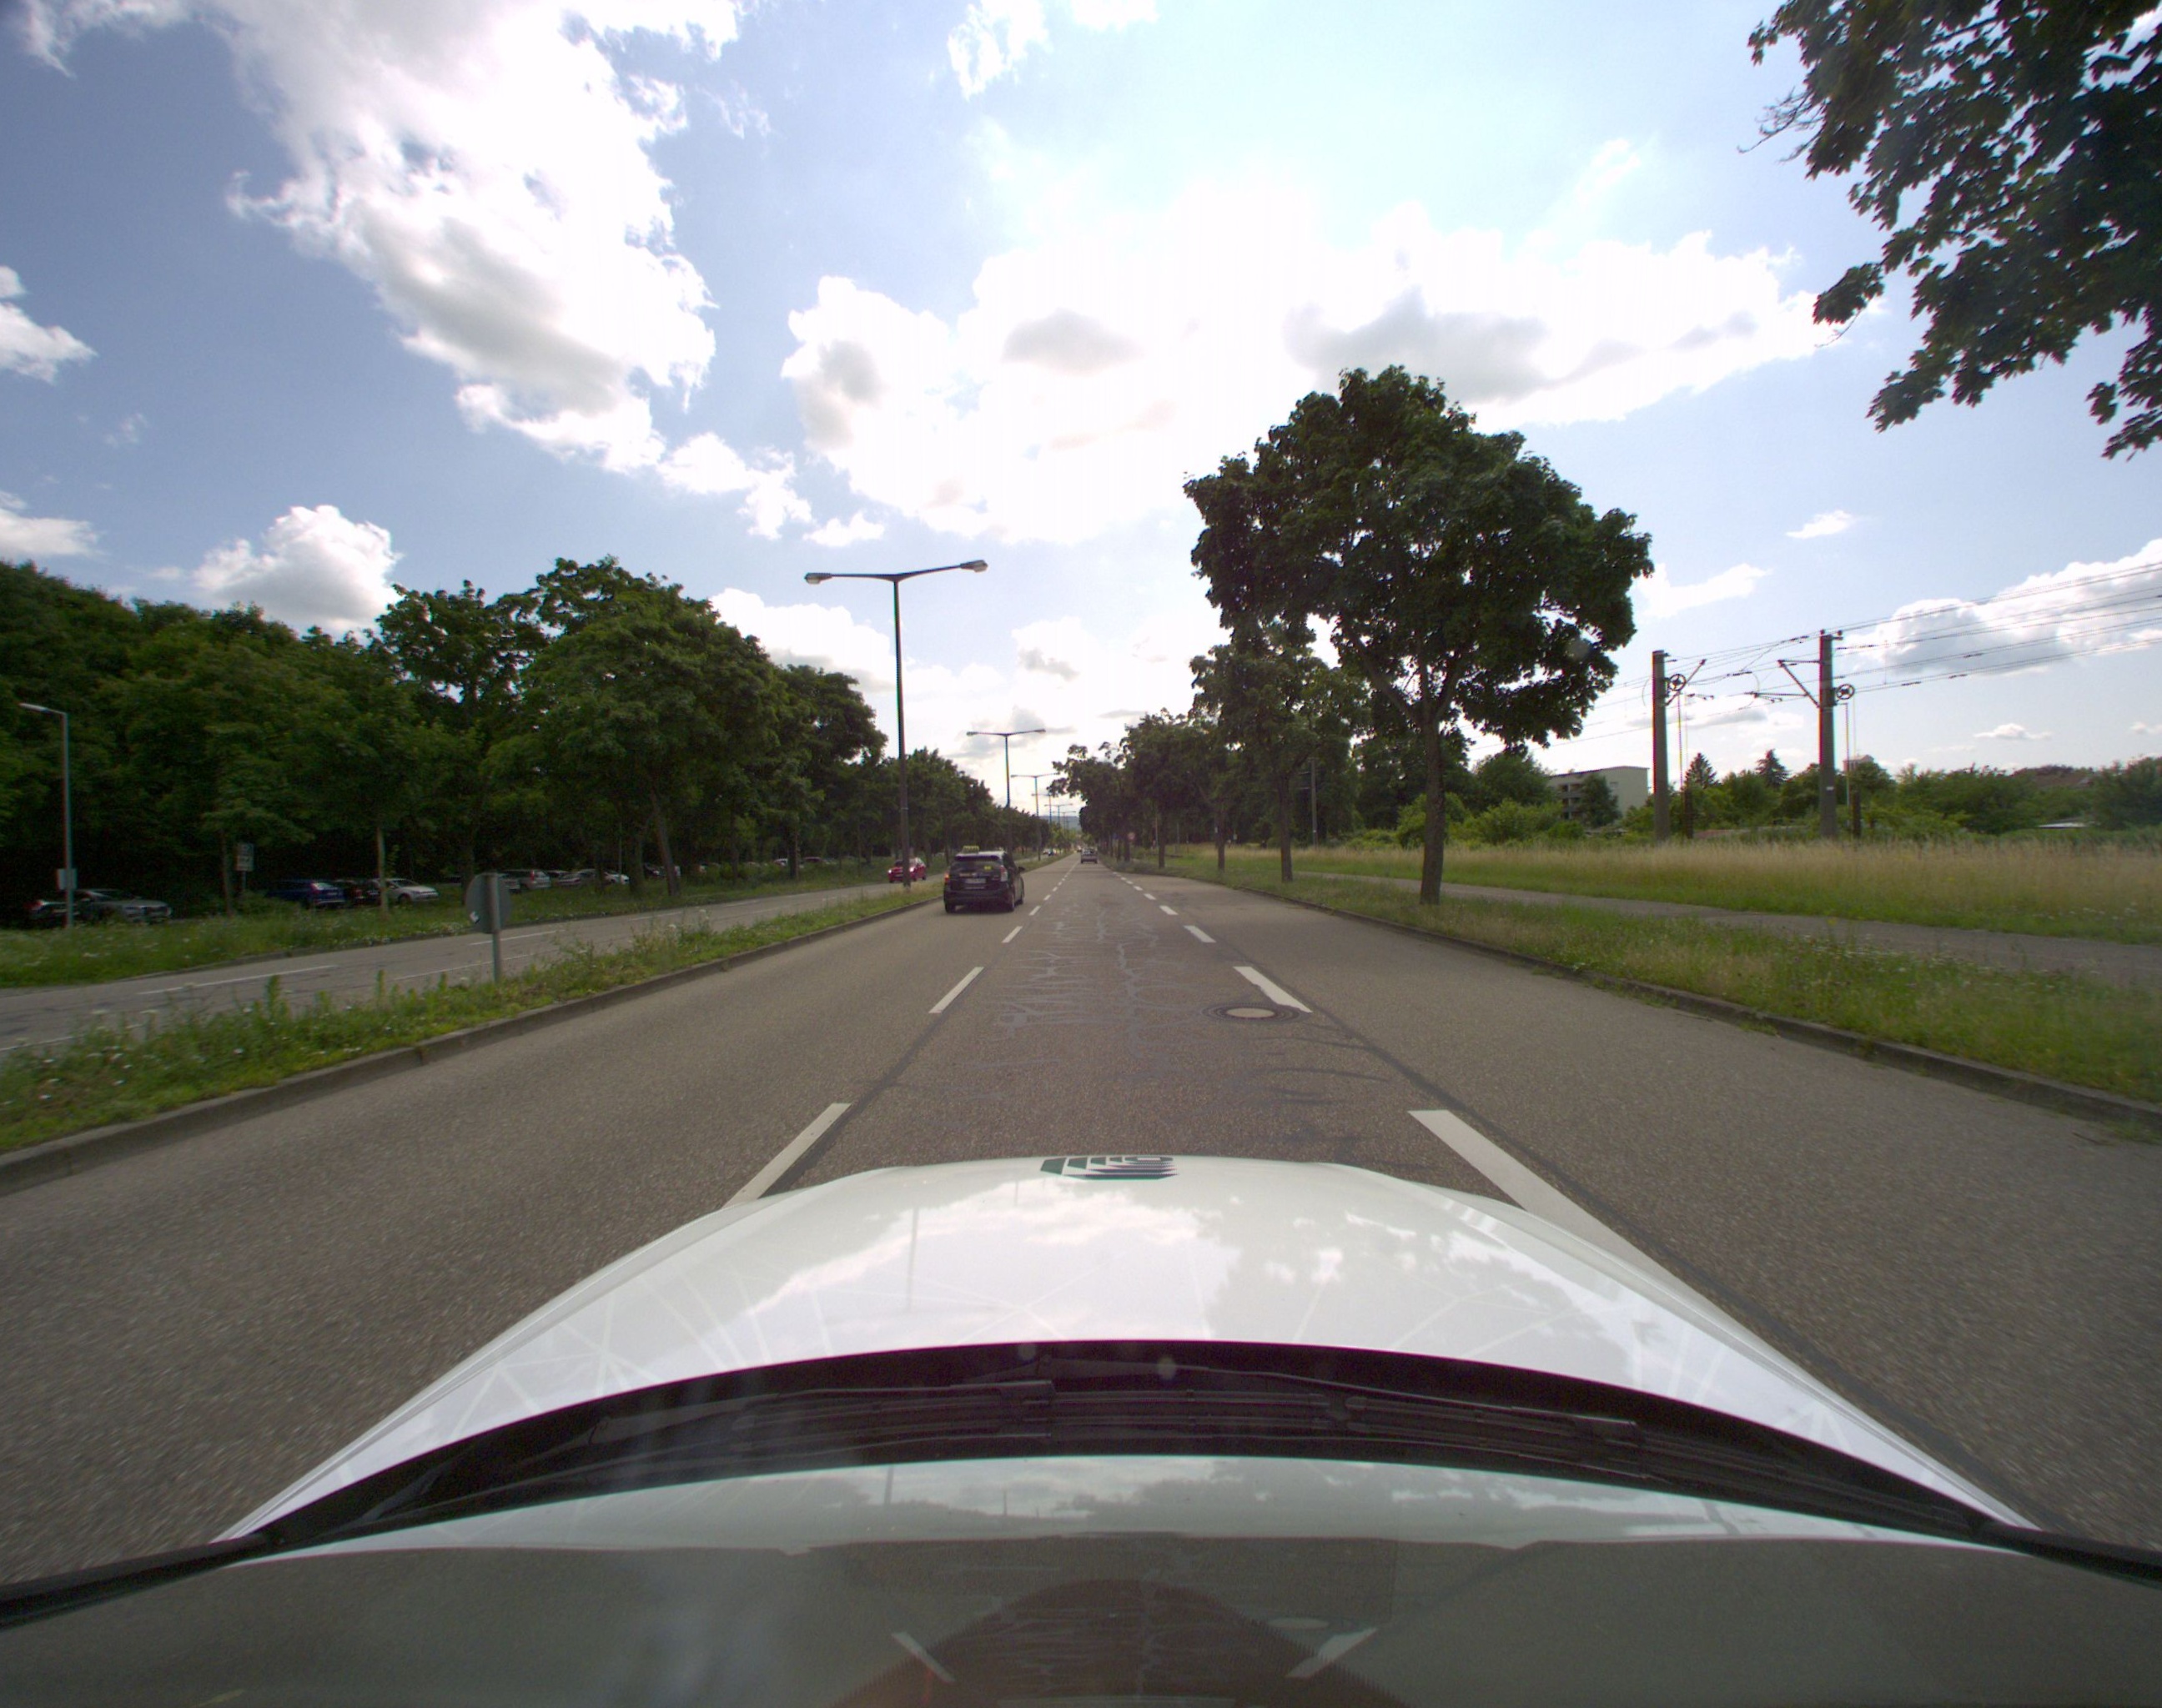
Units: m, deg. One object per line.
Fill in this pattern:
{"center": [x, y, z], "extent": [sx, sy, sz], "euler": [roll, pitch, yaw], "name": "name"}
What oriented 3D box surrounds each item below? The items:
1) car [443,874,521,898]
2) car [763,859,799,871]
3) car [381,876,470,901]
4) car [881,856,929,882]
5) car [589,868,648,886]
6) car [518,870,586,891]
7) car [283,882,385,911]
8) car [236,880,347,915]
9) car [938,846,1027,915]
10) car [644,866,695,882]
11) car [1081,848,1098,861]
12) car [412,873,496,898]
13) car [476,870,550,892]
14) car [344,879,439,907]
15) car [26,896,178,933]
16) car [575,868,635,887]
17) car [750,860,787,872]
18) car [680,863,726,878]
{"center": [-38.275, 2.031, 52.100], "extent": [3.765, 1.387, 1.789], "euler": [0, 1, 6], "name": "car"}
{"center": [-37.560, 1.402, 102.115], "extent": [3.767, 1.387, 1.788], "euler": [0, 1, 5], "name": "car"}
{"center": [-37.978, 1.988, 47.213], "extent": [3.767, 1.387, 1.788], "euler": [0, 1, 5], "name": "car"}
{"center": [-10.915, 0.896, 50.859], "extent": [1.870, 1.508, 3.803], "euler": [0, 1, 5], "name": "car"}
{"center": [-38.012, 1.893, 66.976], "extent": [3.767, 1.387, 1.788], "euler": [0, 1, 5], "name": "car"}
{"center": [-38.034, 1.913, 58.556], "extent": [3.767, 1.387, 1.788], "euler": [0, 1, 5], "name": "car"}
{"center": [-38.649, 2.174, 42.181], "extent": [3.767, 1.387, 1.788], "euler": [0, 1, 5], "name": "car"}
{"center": [-38.142, 2.093, 39.405], "extent": [3.767, 1.568, 1.788], "euler": [0, 1, 5], "name": "car"}
{"center": [-2.558, 0.635, 21.969], "extent": [1.773, 1.684, 4.002], "euler": [0, 1, 2], "name": "car"}
{"center": [-37.737, 1.874, 74.778], "extent": [3.767, 1.387, 1.788], "euler": [0, 1, 5], "name": "car"}
{"center": [0.996, 0.056, 99.591], "extent": [1.987, 1.508, 4.000], "euler": [0, 1, 0], "name": "car"}
{"center": [-37.939, 1.912, 49.326], "extent": [3.767, 1.387, 1.788], "euler": [0, 1, 5], "name": "car"}
{"center": [-38.180, 1.838, 54.793], "extent": [3.767, 1.387, 1.788], "euler": [0, 1, 5], "name": "car"}
{"center": [-37.929, 2.137, 44.838], "extent": [3.767, 1.387, 1.788], "euler": [0, 1, 5], "name": "car"}
{"center": [-38.193, 2.346, 31.840], "extent": [3.771, 1.247, 1.786], "euler": [0, 1, 1], "name": "car"}
{"center": [-37.741, 1.856, 64.610], "extent": [3.767, 1.387, 1.788], "euler": [0, 1, 5], "name": "car"}
{"center": [-37.966, 1.442, 99.048], "extent": [3.767, 1.387, 1.788], "euler": [0, 1, 5], "name": "car"}
{"center": [-37.443, 1.659, 80.715], "extent": [3.767, 1.387, 1.788], "euler": [0, 1, 5], "name": "car"}
